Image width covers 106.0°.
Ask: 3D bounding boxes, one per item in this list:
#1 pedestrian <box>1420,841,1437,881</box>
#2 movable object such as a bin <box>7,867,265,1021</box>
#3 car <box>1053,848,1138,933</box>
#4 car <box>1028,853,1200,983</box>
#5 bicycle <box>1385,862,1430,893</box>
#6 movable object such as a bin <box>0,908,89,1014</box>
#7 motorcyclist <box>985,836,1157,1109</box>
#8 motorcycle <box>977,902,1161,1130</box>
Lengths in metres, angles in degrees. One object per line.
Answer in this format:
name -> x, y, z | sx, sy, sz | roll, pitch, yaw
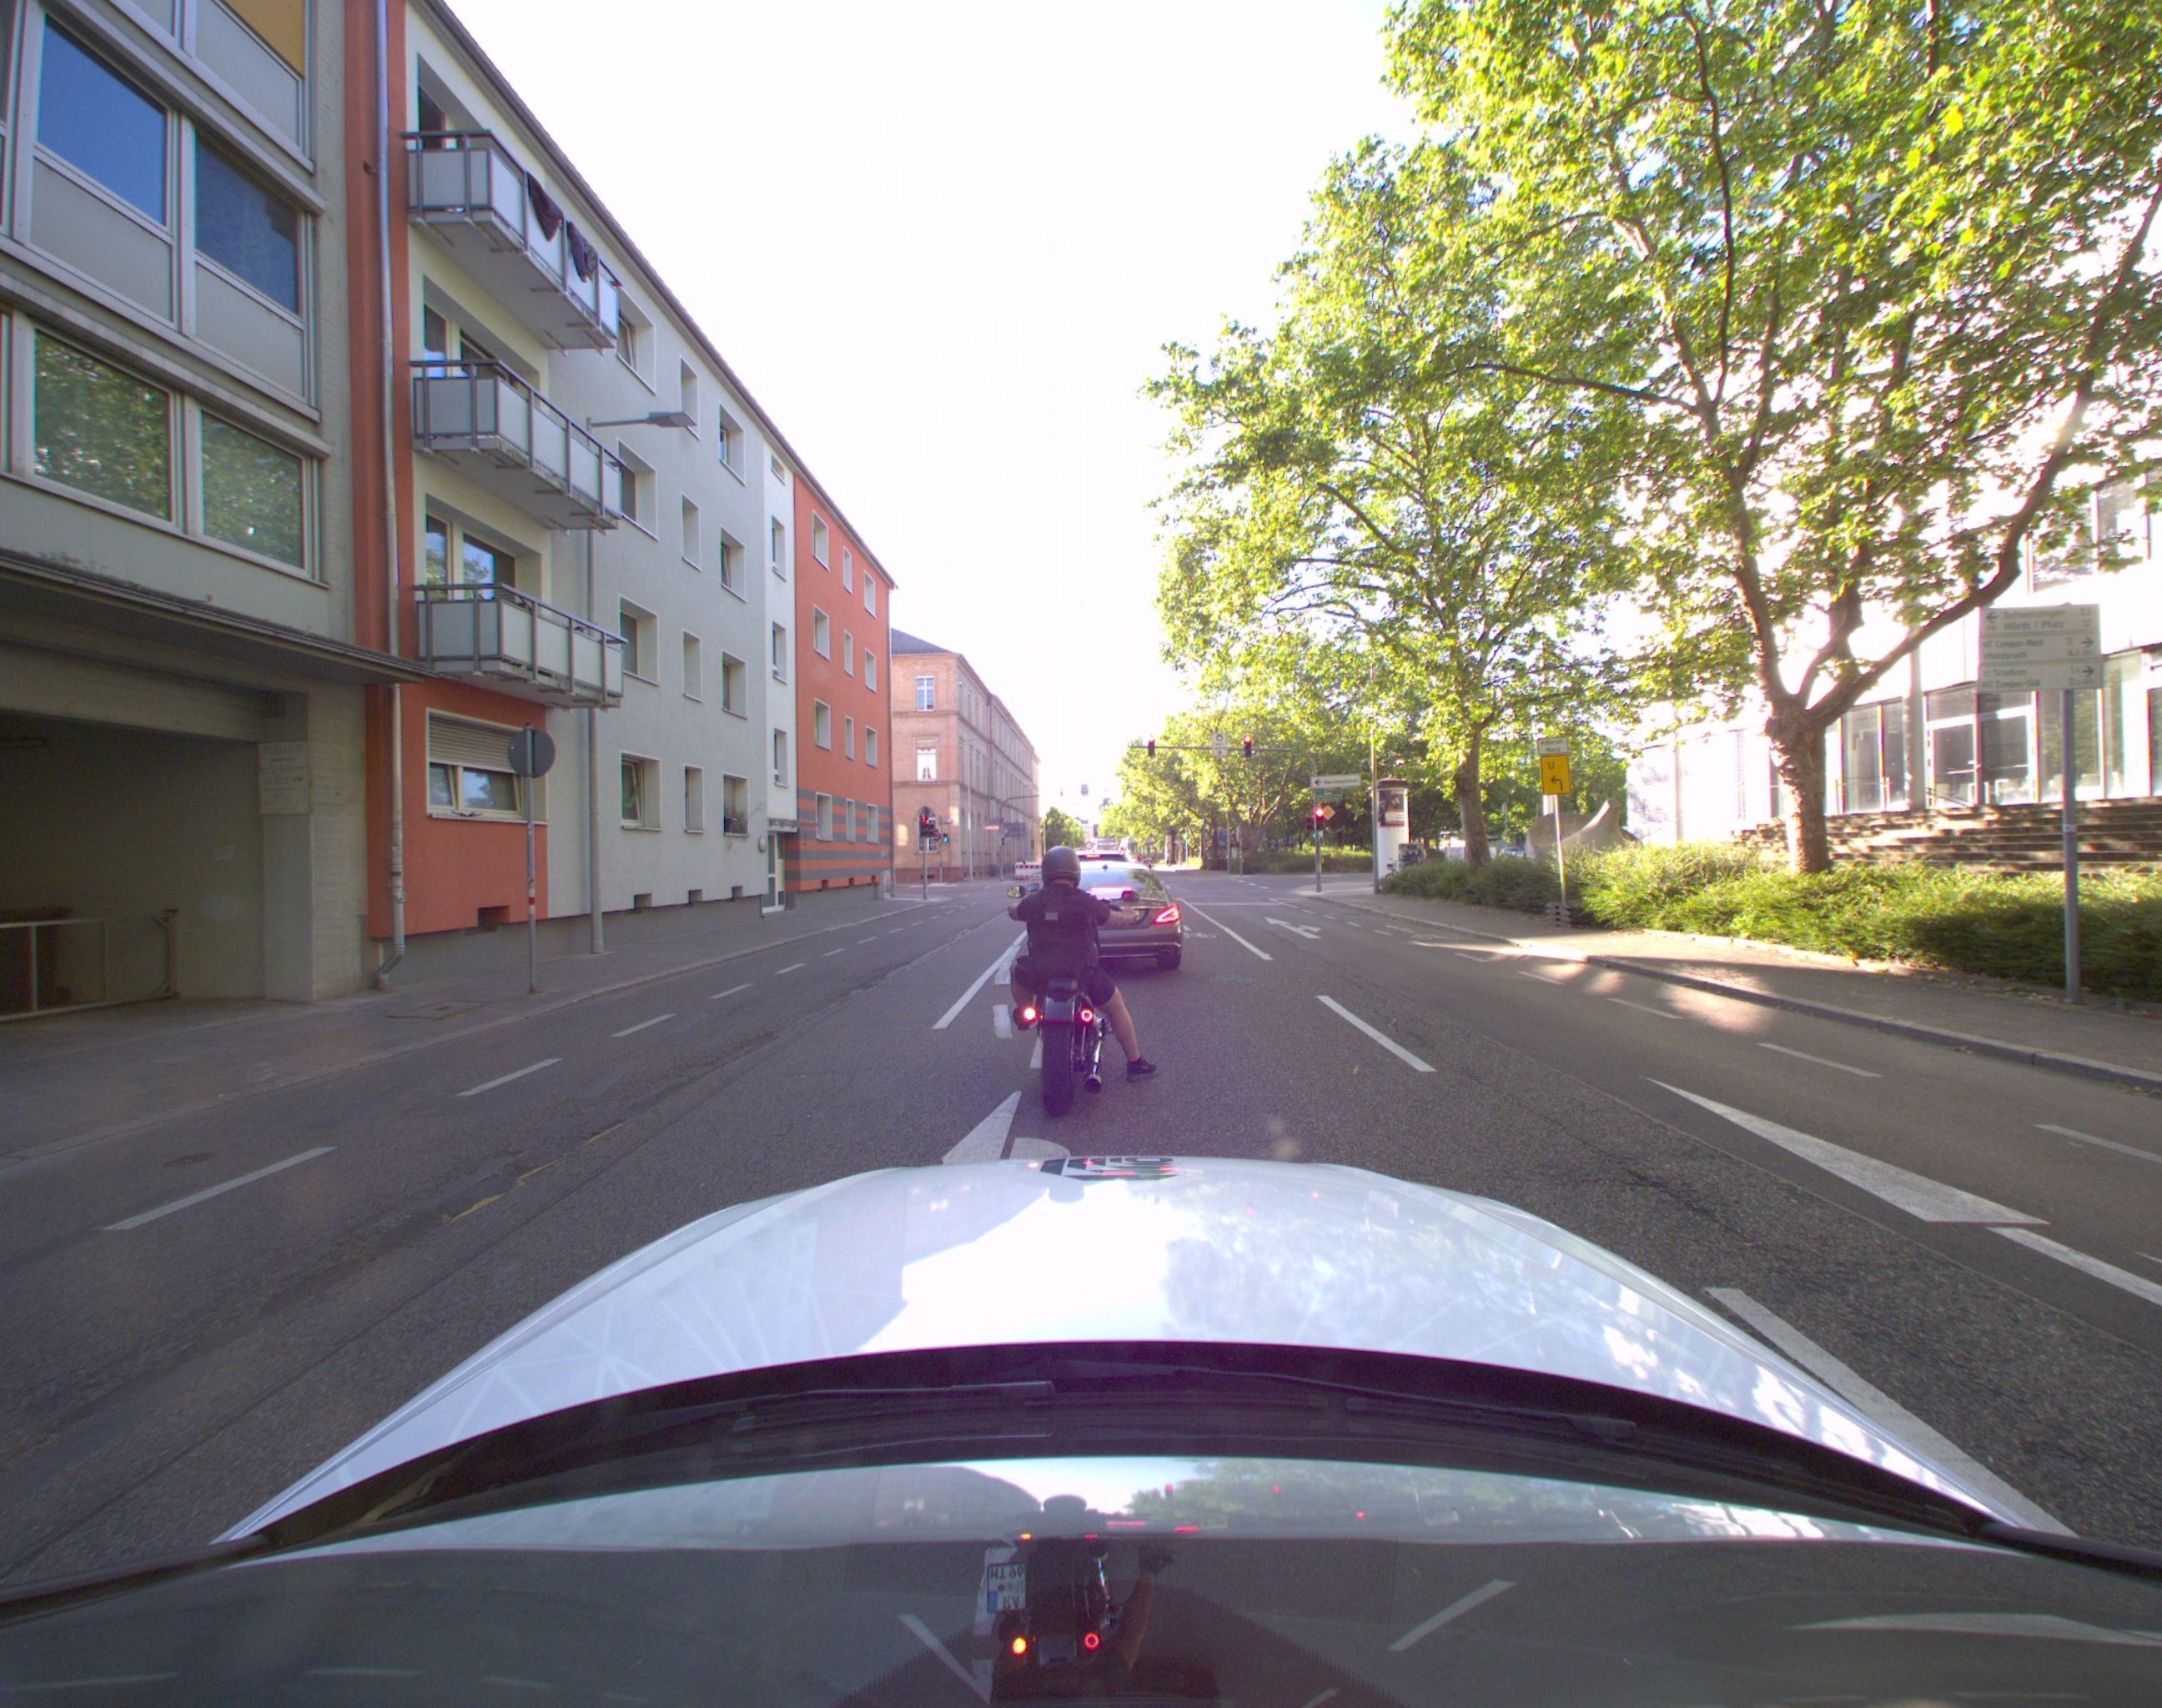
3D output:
pedestrian -> 16.391, 0.313, 38.445 | 0.549, 1.849, 0.594 | -1, 0, 3
movable object such as a bin -> -9.627, 0.872, 8.370 | 1.322, 1.430, 1.134 | -1, 0, 3
car -> 0.319, 0.707, 17.893 | 1.606, 1.607, 4.329 | -1, 0, 1
car -> 0.255, 0.744, 11.723 | 1.943, 1.473, 4.355 | -1, 0, -5
bicycle -> 11.033, 0.791, 27.524 | 1.346, 1.023, 0.363 | -1, 0, 2
movable object such as a bin -> -11.317, 1.119, 8.685 | 0.593, 1.041, 0.703 | 0, -1, 1
motorcyclist -> -0.037, 0.701, 5.531 | 0.986, 1.597, 1.404 | -1, 0, 2
motorcycle -> -0.029, 0.960, 5.685 | 0.986, 1.078, 2.453 | -1, 0, 2
